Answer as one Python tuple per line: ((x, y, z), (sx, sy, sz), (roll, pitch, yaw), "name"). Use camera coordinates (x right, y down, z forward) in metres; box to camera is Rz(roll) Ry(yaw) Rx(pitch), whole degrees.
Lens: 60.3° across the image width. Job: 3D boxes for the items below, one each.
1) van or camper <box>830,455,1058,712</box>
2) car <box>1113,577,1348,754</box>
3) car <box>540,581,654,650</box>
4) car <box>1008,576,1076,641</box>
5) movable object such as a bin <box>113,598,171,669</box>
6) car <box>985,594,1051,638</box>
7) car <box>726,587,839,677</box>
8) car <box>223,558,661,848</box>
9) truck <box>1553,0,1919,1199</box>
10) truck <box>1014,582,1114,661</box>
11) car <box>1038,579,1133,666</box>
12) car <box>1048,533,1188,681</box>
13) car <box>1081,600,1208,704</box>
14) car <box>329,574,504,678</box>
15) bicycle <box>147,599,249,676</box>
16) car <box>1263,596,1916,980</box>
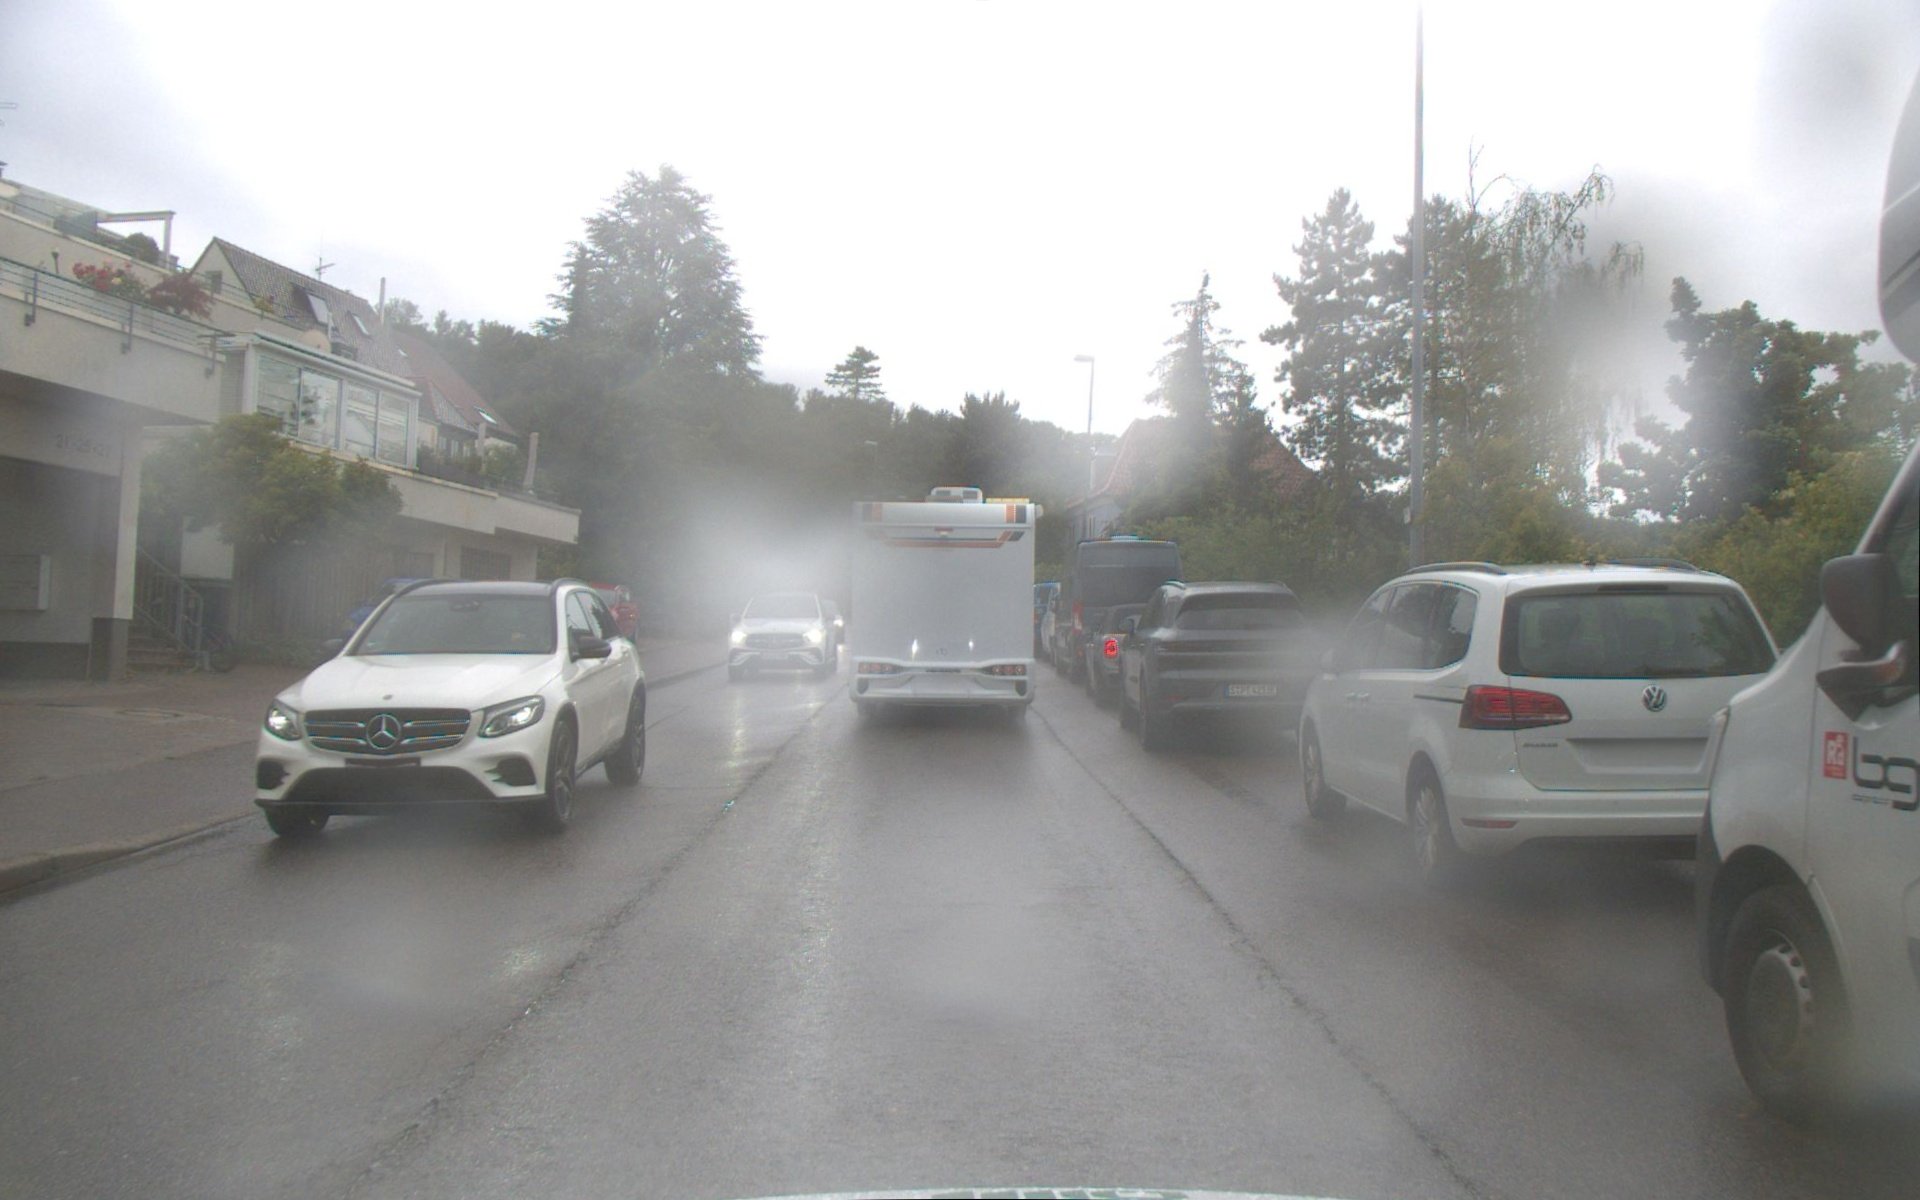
((-0.199, -0.104, 22.293), (2.562, 2.903, 6.029), (2, -2, 0), "van or camper")
((2.825, 0.634, 18.292), (1.896, 1.701, 4.694), (0, 0, 1), "car")
((-8.953, 0.368, 41.188), (1.738, 1.462, 4.587), (6, 0, -1), "car")
((2.618, 0.264, 53.856), (1.822, 1.955, 5.078), (2, 0, -1), "car")
((-12.735, 0.517, 25.756), (0.535, 1.059, 0.562), (3, -1, 13), "movable object such as a bin")
((2.050, 0.550, 59.641), (1.654, 1.482, 4.050), (2, 0, -8), "car")
((-3.409, 0.578, 32.437), (1.762, 1.594, 4.383), (1, 0, -1), "car")
((-3.392, 0.598, 11.790), (1.868, 1.636, 4.426), (2, 0, -3), "car")
((3.418, -0.218, 2.221), (2.386, 3.394, 7.964), (0, -1, 0), "truck")
((2.733, 0.548, 45.082), (2.071, 1.884, 6.616), (3, 0, -2), "truck")
((2.866, 0.496, 38.725), (1.790, 1.874, 5.269), (0, 0, 0), "car")
((2.874, 0.123, 31.463), (1.990, 2.549, 5.954), (0, 0, -1), "car")
((2.721, 0.732, 25.017), (1.556, 1.454, 3.798), (0, 0, 1), "car")
((-8.854, 0.380, 27.282), (1.575, 1.459, 3.958), (4, 0, -2), "car")
((-11.070, 0.540, 24.014), (1.534, 1.024, 0.477), (3, 0, 28), "bicycle")
((3.340, 0.863, 10.228), (1.808, 1.713, 5.637), (0, -1, -1), "car")
